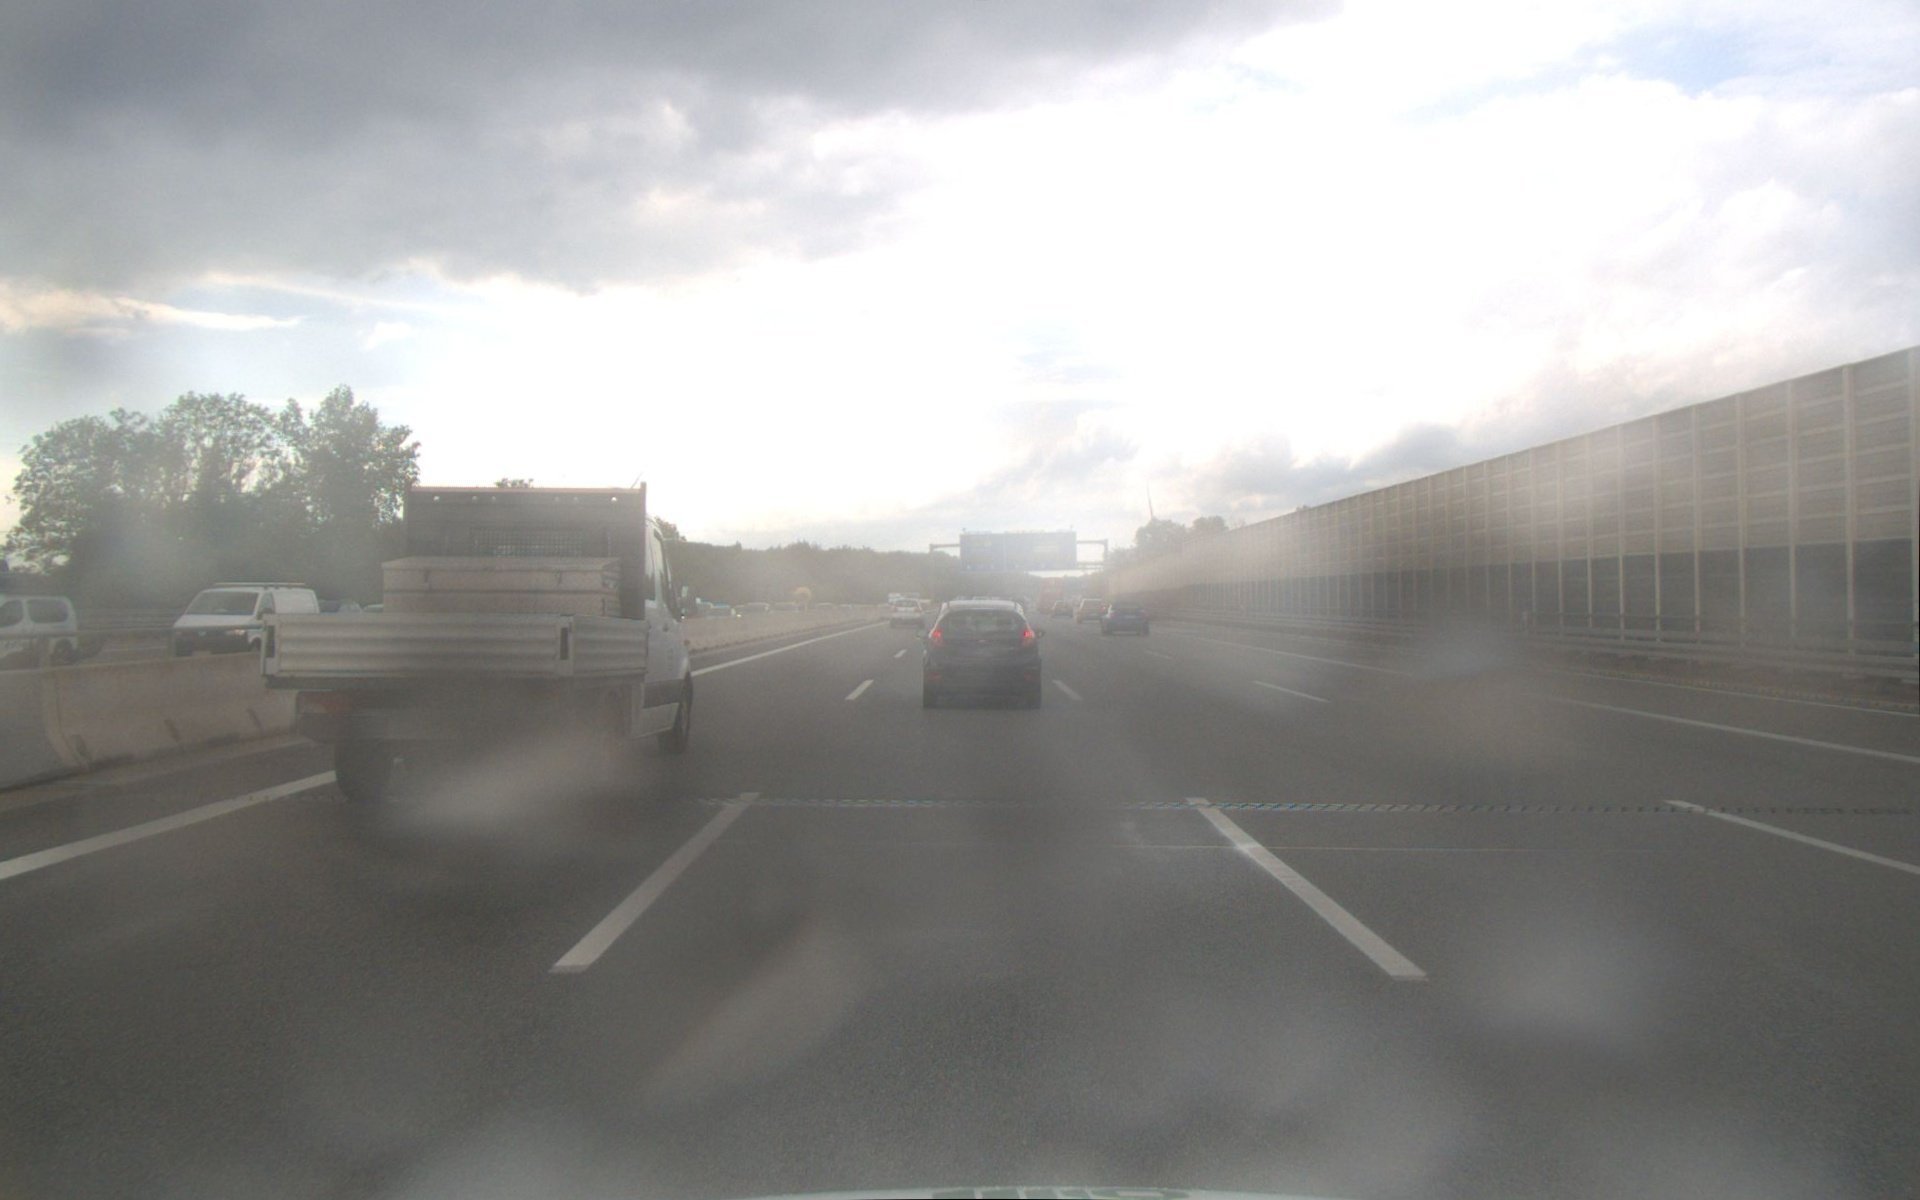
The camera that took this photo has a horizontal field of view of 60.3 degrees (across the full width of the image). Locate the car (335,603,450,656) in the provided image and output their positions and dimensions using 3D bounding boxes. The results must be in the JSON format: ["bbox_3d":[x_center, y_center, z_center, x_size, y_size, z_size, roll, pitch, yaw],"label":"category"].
[{"bbox_3d":[-17.564,0.878,51.414,2.018,1.561,4.519,0,0,0],"label":"car"}]

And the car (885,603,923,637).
[{"bbox_3d":[-2.879,1.001,85.486,1.681,1.652,4.279,0,1,2],"label":"car"}]

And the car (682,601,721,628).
[{"bbox_3d":[-16.752,0.960,107.438,1.687,1.675,4.520,1,-1,2],"label":"car"}]

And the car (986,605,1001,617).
[{"bbox_3d":[4.528,1.451,225.240,1.928,1.588,4.431,-1,-1,-1],"label":"car"}]

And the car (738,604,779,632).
[{"bbox_3d":[-12.464,1.105,102.578,1.687,1.675,5.063,1,-1,2],"label":"car"}]

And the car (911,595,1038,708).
[{"bbox_3d":[0.196,0.675,23.931,1.682,1.441,4.278,0,1,0],"label":"car"}]

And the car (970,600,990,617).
[{"bbox_3d":[1.990,0.852,163.159,1.927,1.588,4.432,-1,-1,0],"label":"car"}]

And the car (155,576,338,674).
[{"bbox_3d":[-17.664,0.584,41.306,2.018,2.275,5.894,0,0,0],"label":"car"}]

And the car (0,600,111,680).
[{"bbox_3d":[-20.914,0.839,35.697,2.018,1.674,6.120,0,0,0],"label":"car"}]

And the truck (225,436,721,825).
[{"bbox_3d":[-3.631,0.168,14.163,2.260,2.482,7.147,0,0,-1],"label":"truck"}]

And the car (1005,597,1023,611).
[{"bbox_3d":[6.291,0.451,193.970,1.928,1.588,4.432,-1,-1,0],"label":"car"}]

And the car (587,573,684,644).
[{"bbox_3d":[-13.727,0.258,70.610,2.185,2.797,9.165,0,1,1],"label":"car"}]

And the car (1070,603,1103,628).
[{"bbox_3d":[8.256,1.041,107.997,1.844,1.569,4.433,-1,-1,1],"label":"car"}]

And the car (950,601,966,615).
[{"bbox_3d":[-0.229,0.977,196.821,1.927,1.588,4.432,-1,-1,0],"label":"car"}]

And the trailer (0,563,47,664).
[{"bbox_3d":[-25.048,0.342,40.748,2.155,2.527,5.228,0,0,0],"label":"trailer"}]

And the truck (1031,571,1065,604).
[{"bbox_3d":[10.042,-1.415,189.572,3.088,3.664,12.699,1,0,0],"label":"truck"}]

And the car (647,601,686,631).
[{"bbox_3d":[-20.446,1.116,115.482,1.653,1.970,5.548,1,-1,0],"label":"car"}]

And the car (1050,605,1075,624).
[{"bbox_3d":[8.924,1.252,144.532,1.844,1.588,4.432,-1,-1,0],"label":"car"}]

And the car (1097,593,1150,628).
[{"bbox_3d":[7.052,0.449,71.650,1.909,1.443,4.232,0,0,1],"label":"car"}]
